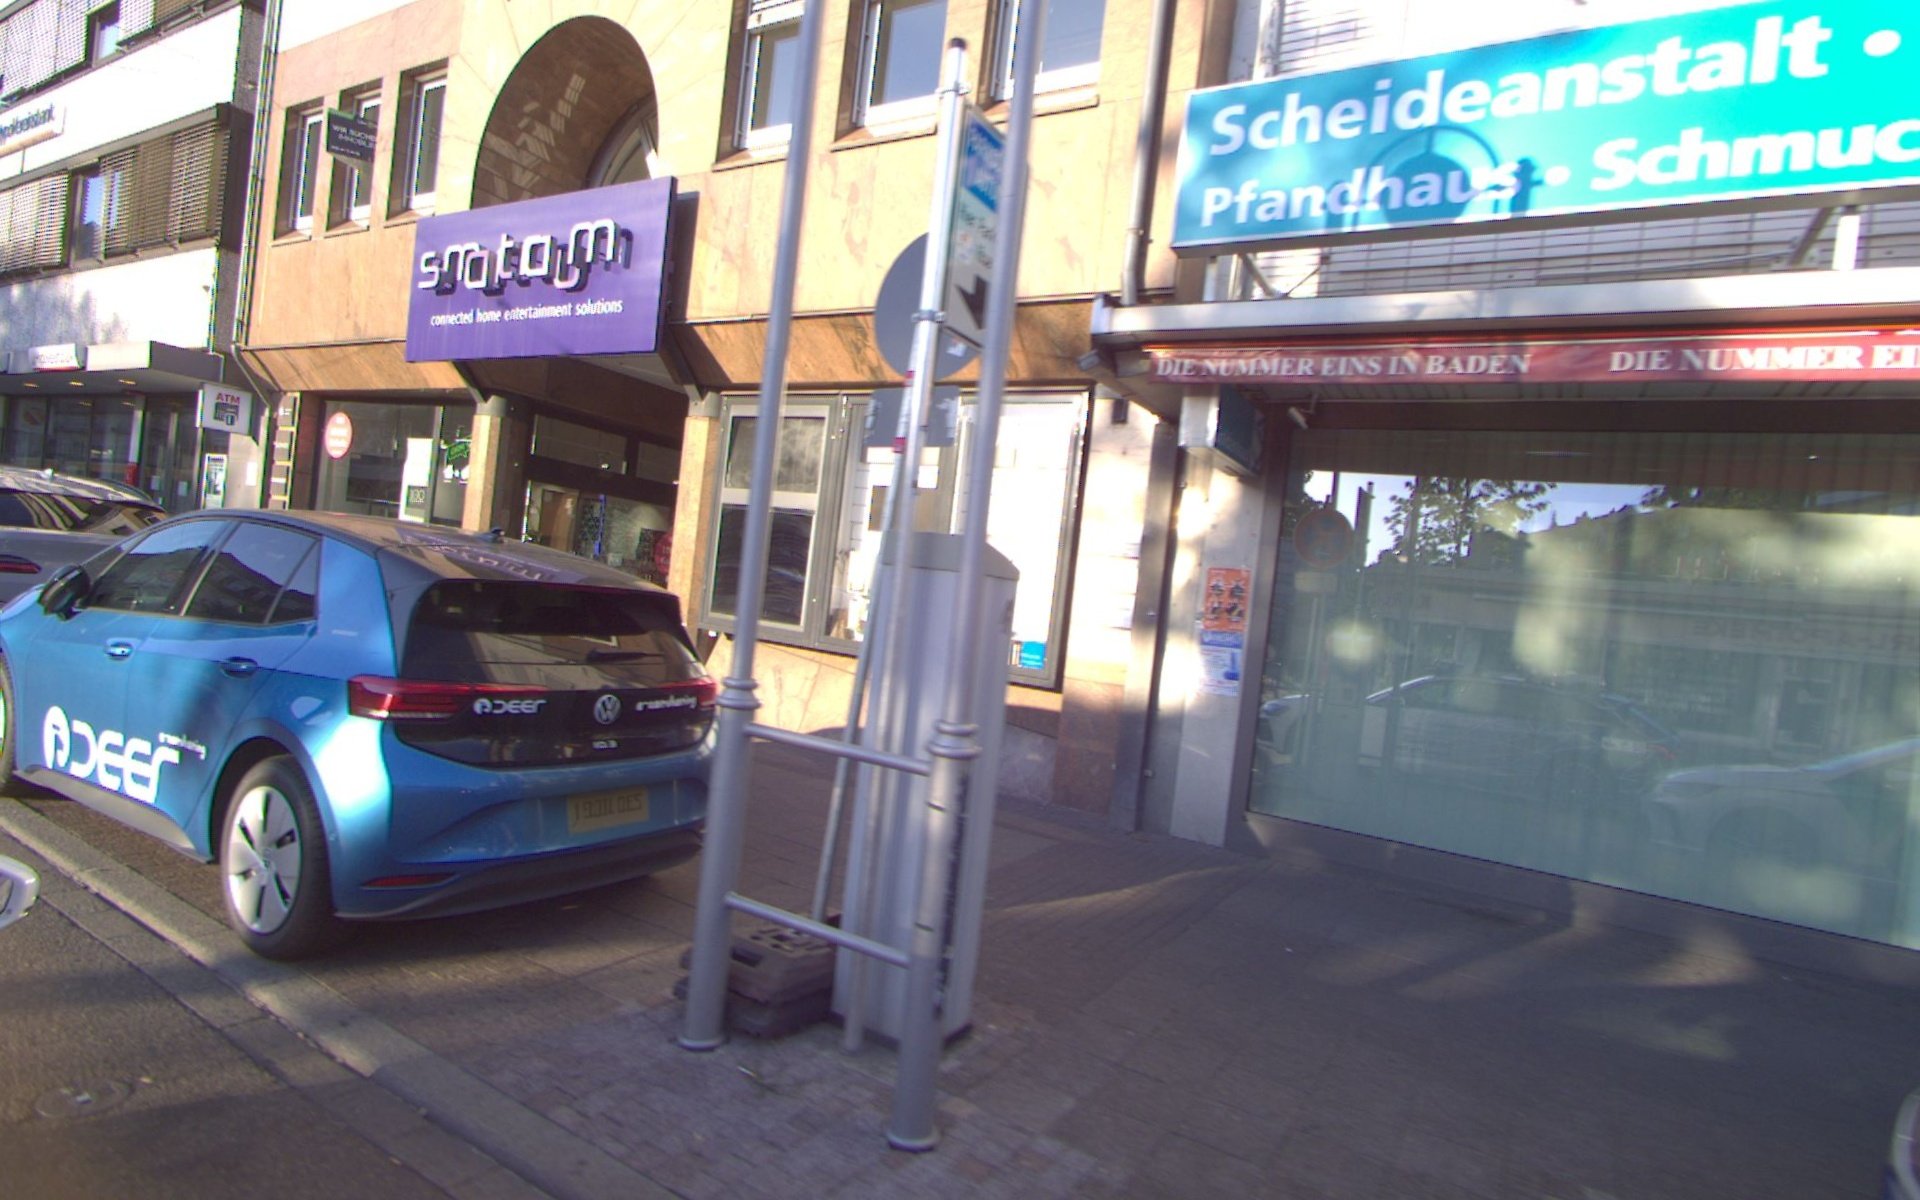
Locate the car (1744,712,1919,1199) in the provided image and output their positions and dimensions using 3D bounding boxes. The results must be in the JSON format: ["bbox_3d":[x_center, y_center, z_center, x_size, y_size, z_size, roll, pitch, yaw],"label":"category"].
[{"bbox_3d":[3.515,1.135,0.940,4.082,1.453,1.733,5,0,30],"label":"car"}]

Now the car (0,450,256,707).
[{"bbox_3d":[-7.691,-0.328,7.908,4.646,1.605,1.818,7,0,33],"label":"car"}]

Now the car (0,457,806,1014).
[{"bbox_3d":[-3.259,0.275,5.000,4.755,1.571,1.811,7,0,31],"label":"car"}]
